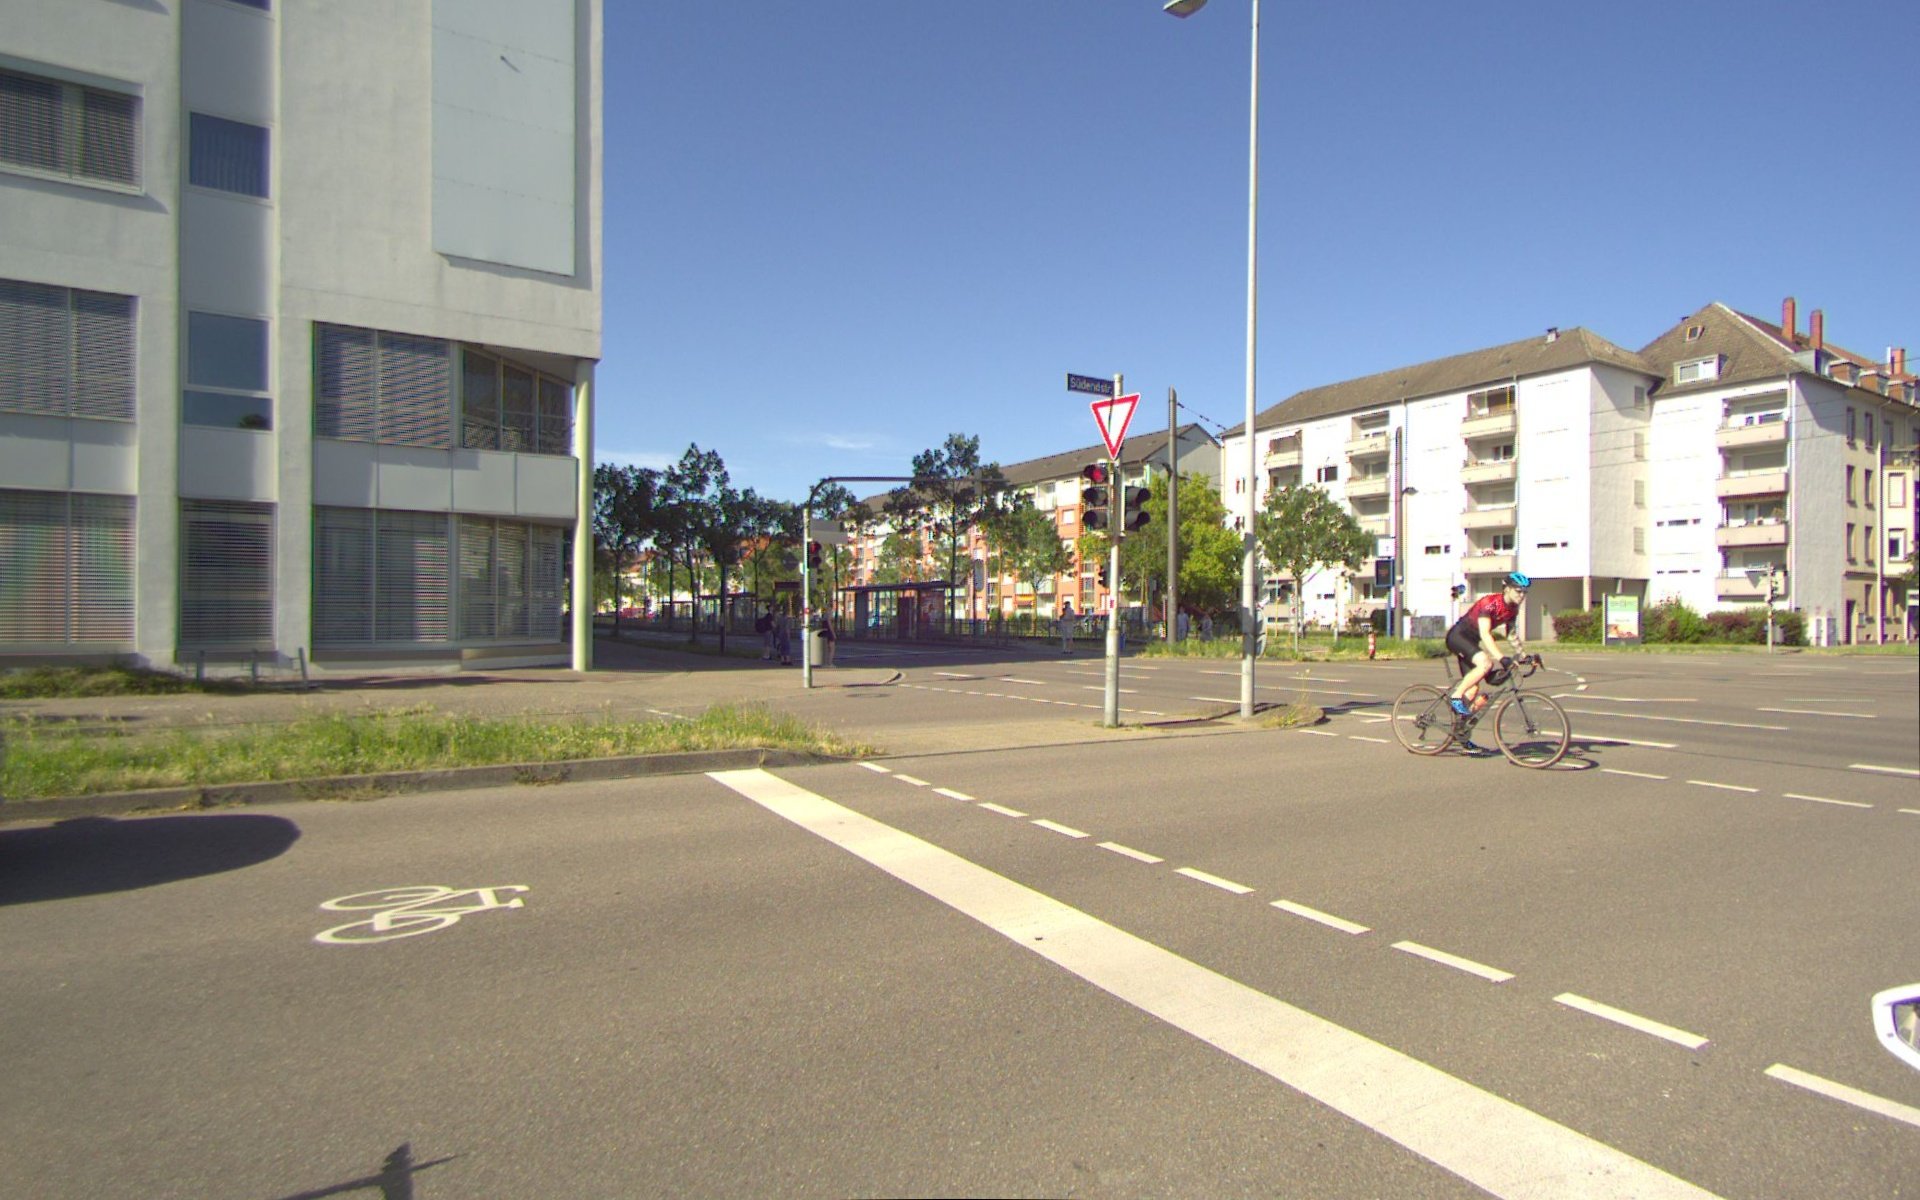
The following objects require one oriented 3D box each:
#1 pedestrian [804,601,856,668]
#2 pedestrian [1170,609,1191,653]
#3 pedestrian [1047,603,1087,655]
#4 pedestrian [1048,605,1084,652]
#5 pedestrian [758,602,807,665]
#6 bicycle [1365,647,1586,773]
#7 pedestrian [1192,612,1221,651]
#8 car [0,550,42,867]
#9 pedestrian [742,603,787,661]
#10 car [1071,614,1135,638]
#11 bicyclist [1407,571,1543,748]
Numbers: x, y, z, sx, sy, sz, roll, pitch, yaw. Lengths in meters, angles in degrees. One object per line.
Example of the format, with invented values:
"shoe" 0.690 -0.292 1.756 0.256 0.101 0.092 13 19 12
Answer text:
"pedestrian" -3.480 0.915 26.814 1.143 1.749 0.805 1 -1 -37
"pedestrian" 8.894 1.249 40.519 0.797 1.749 1.155 0 -1 10
"pedestrian" 3.822 1.033 35.910 1.143 1.794 0.914 1 -1 -37
"pedestrian" 3.990 1.078 37.818 1.143 1.749 0.805 1 -1 -37
"pedestrian" -5.058 0.941 28.649 1.143 1.749 0.805 1 -1 -37
"bicycle" 4.955 1.012 9.750 0.668 1.069 1.790 1 -2 -41
"pedestrian" 9.770 1.242 39.818 0.850 1.554 0.719 1 -1 -37
"car" -6.787 0.527 3.932 4.428 1.650 1.744 1 1 -32
"pedestrian" -6.026 0.994 30.970 1.143 1.749 0.805 1 -1 -37
"car" 9.981 1.814 70.381 4.310 1.451 1.694 2 1 7
"bicyclist" 4.978 0.551 9.726 0.668 1.606 0.992 1 -2 -41
